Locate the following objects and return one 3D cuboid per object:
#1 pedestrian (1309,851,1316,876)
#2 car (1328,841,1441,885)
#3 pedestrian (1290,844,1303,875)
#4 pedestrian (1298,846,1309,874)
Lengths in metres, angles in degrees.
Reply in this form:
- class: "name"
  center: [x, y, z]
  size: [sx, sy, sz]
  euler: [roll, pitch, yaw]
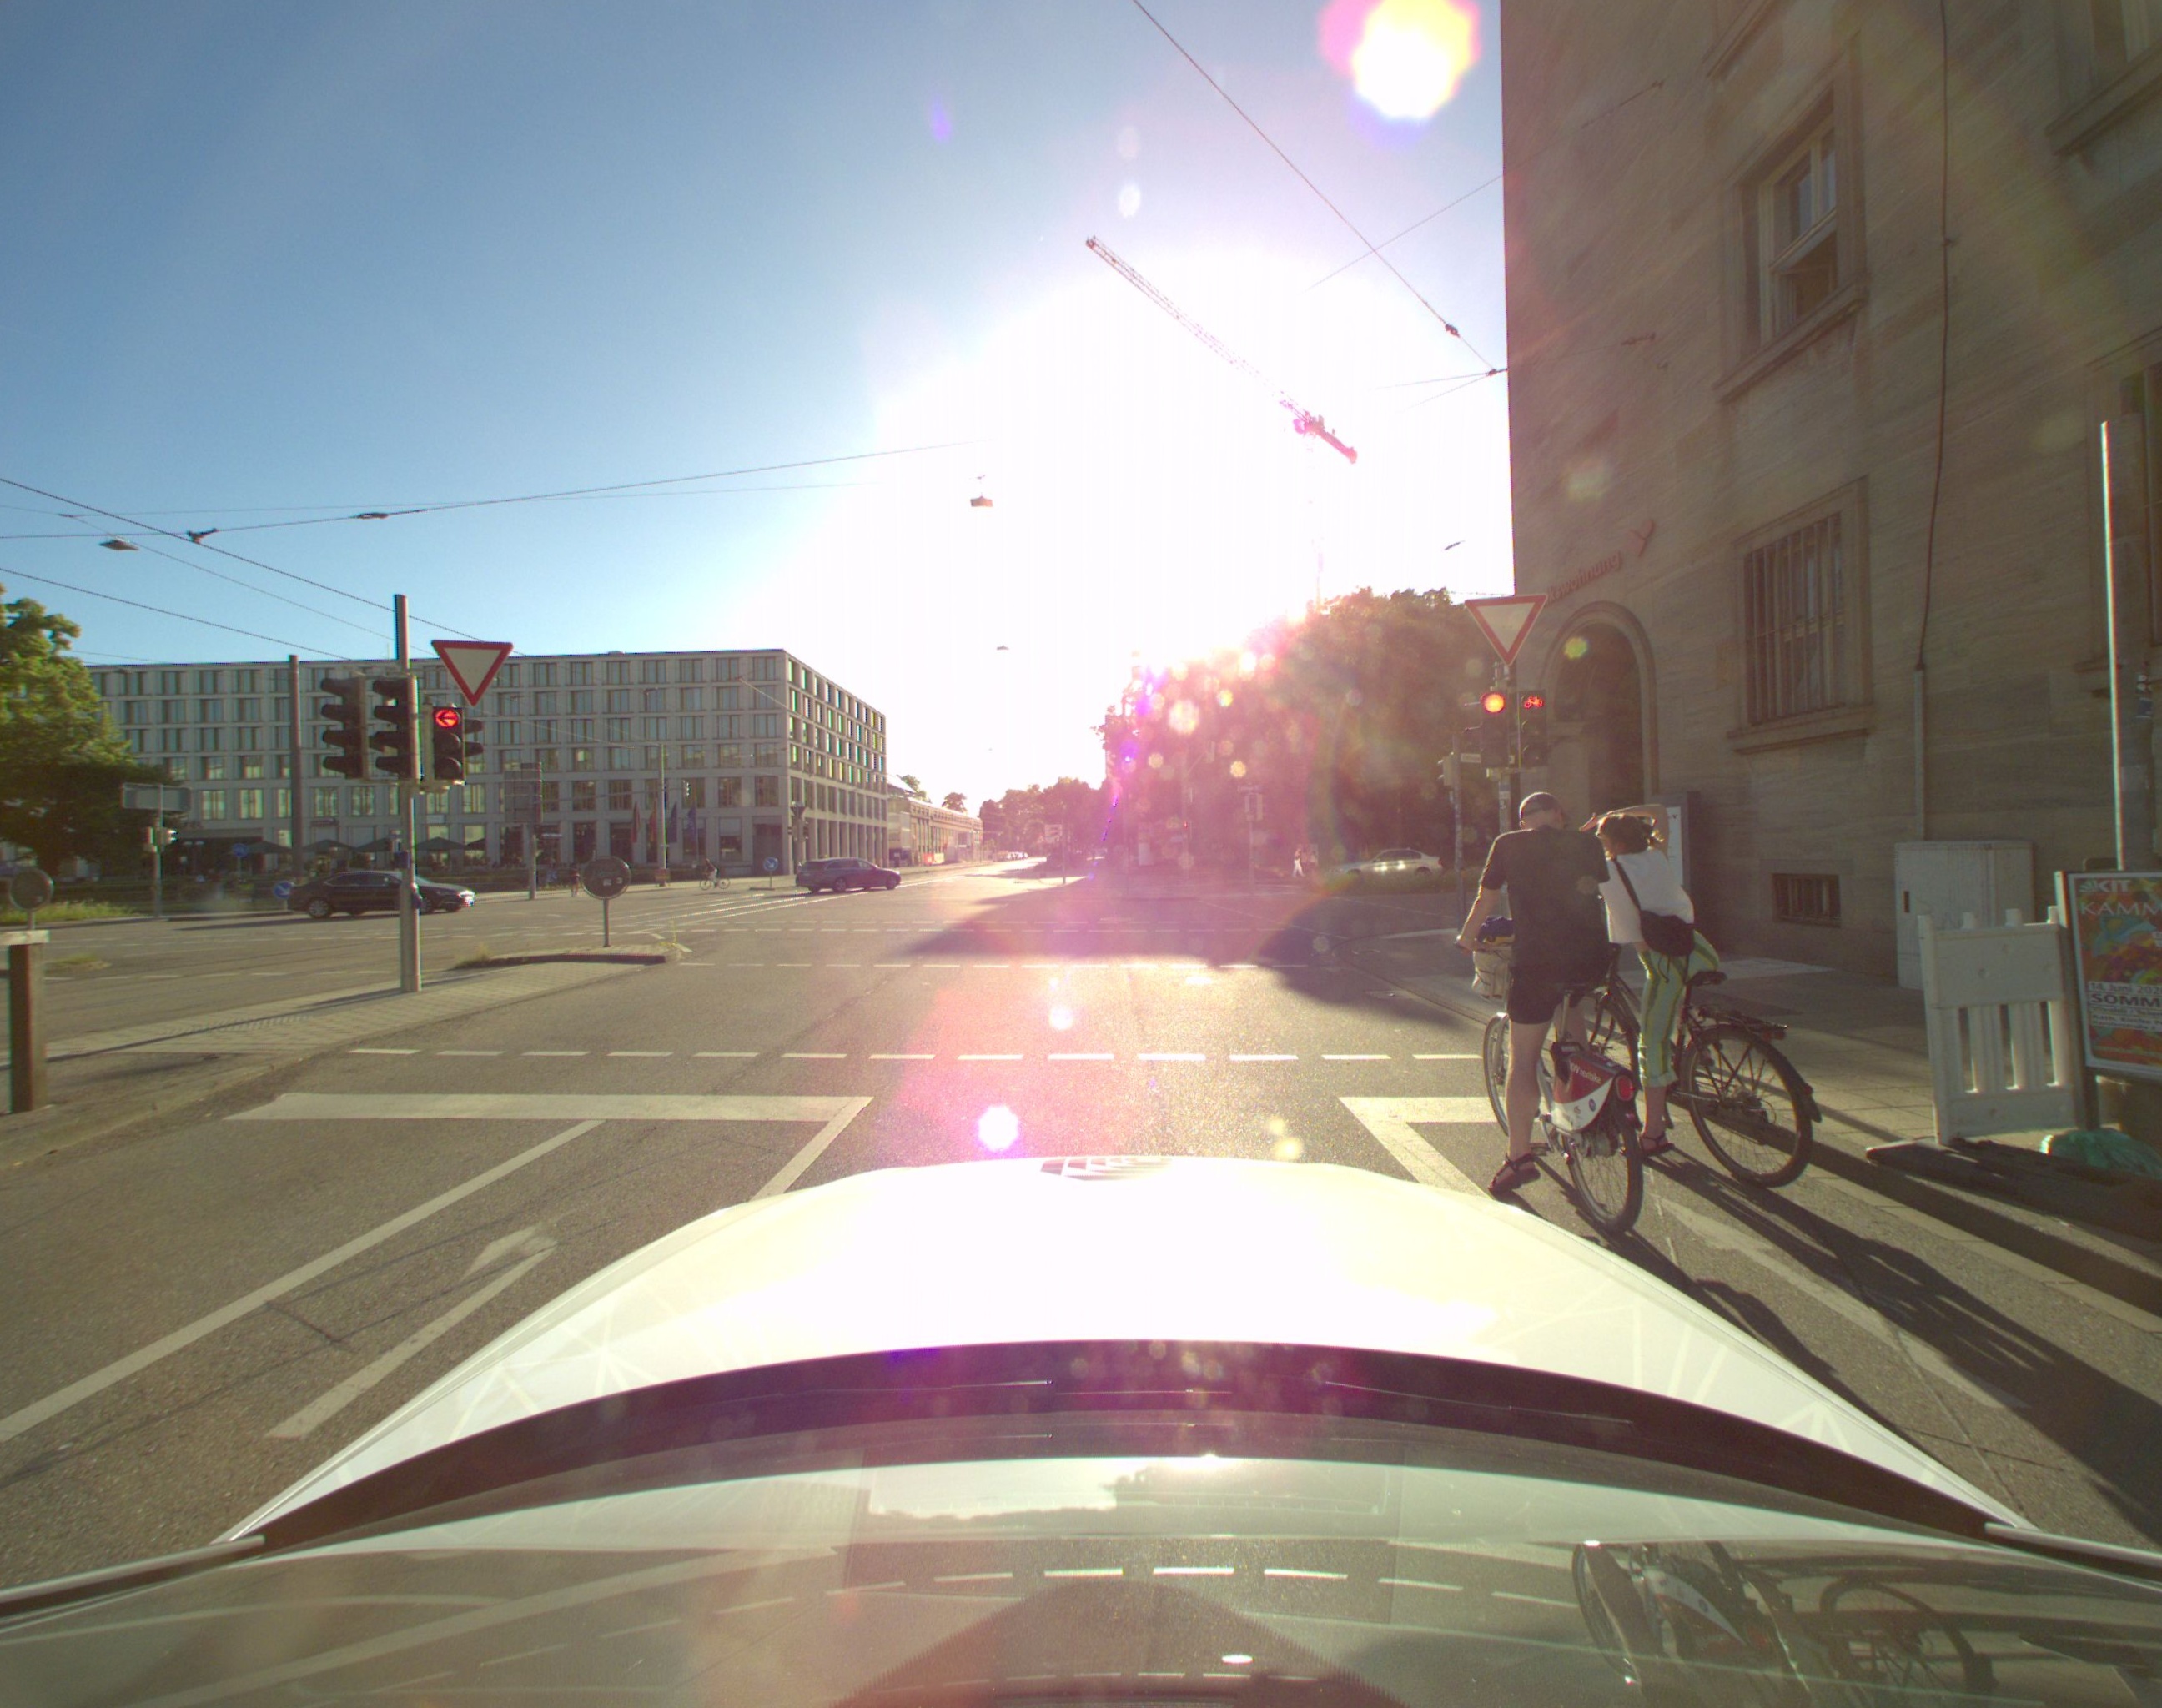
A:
- class: "pedestrian"
  center: [12.343, 0.483, 43.455]
  size: [0.316, 1.316, 0.345]
  euler: [-1, 1, 4]
- class: "car"
  center: [12.355, 0.356, 33.267]
  size: [3.979, 1.611, 1.650]
  euler: [-2, 0, 1]
- class: "pedestrian"
  center: [11.593, 0.278, 43.837]
  size: [0.580, 1.663, 0.515]
  euler: [-1, 1, 4]
- class: "pedestrian"
  center: [12.102, 0.349, 44.332]
  size: [0.437, 1.503, 0.437]
  euler: [-2, 0, 3]
